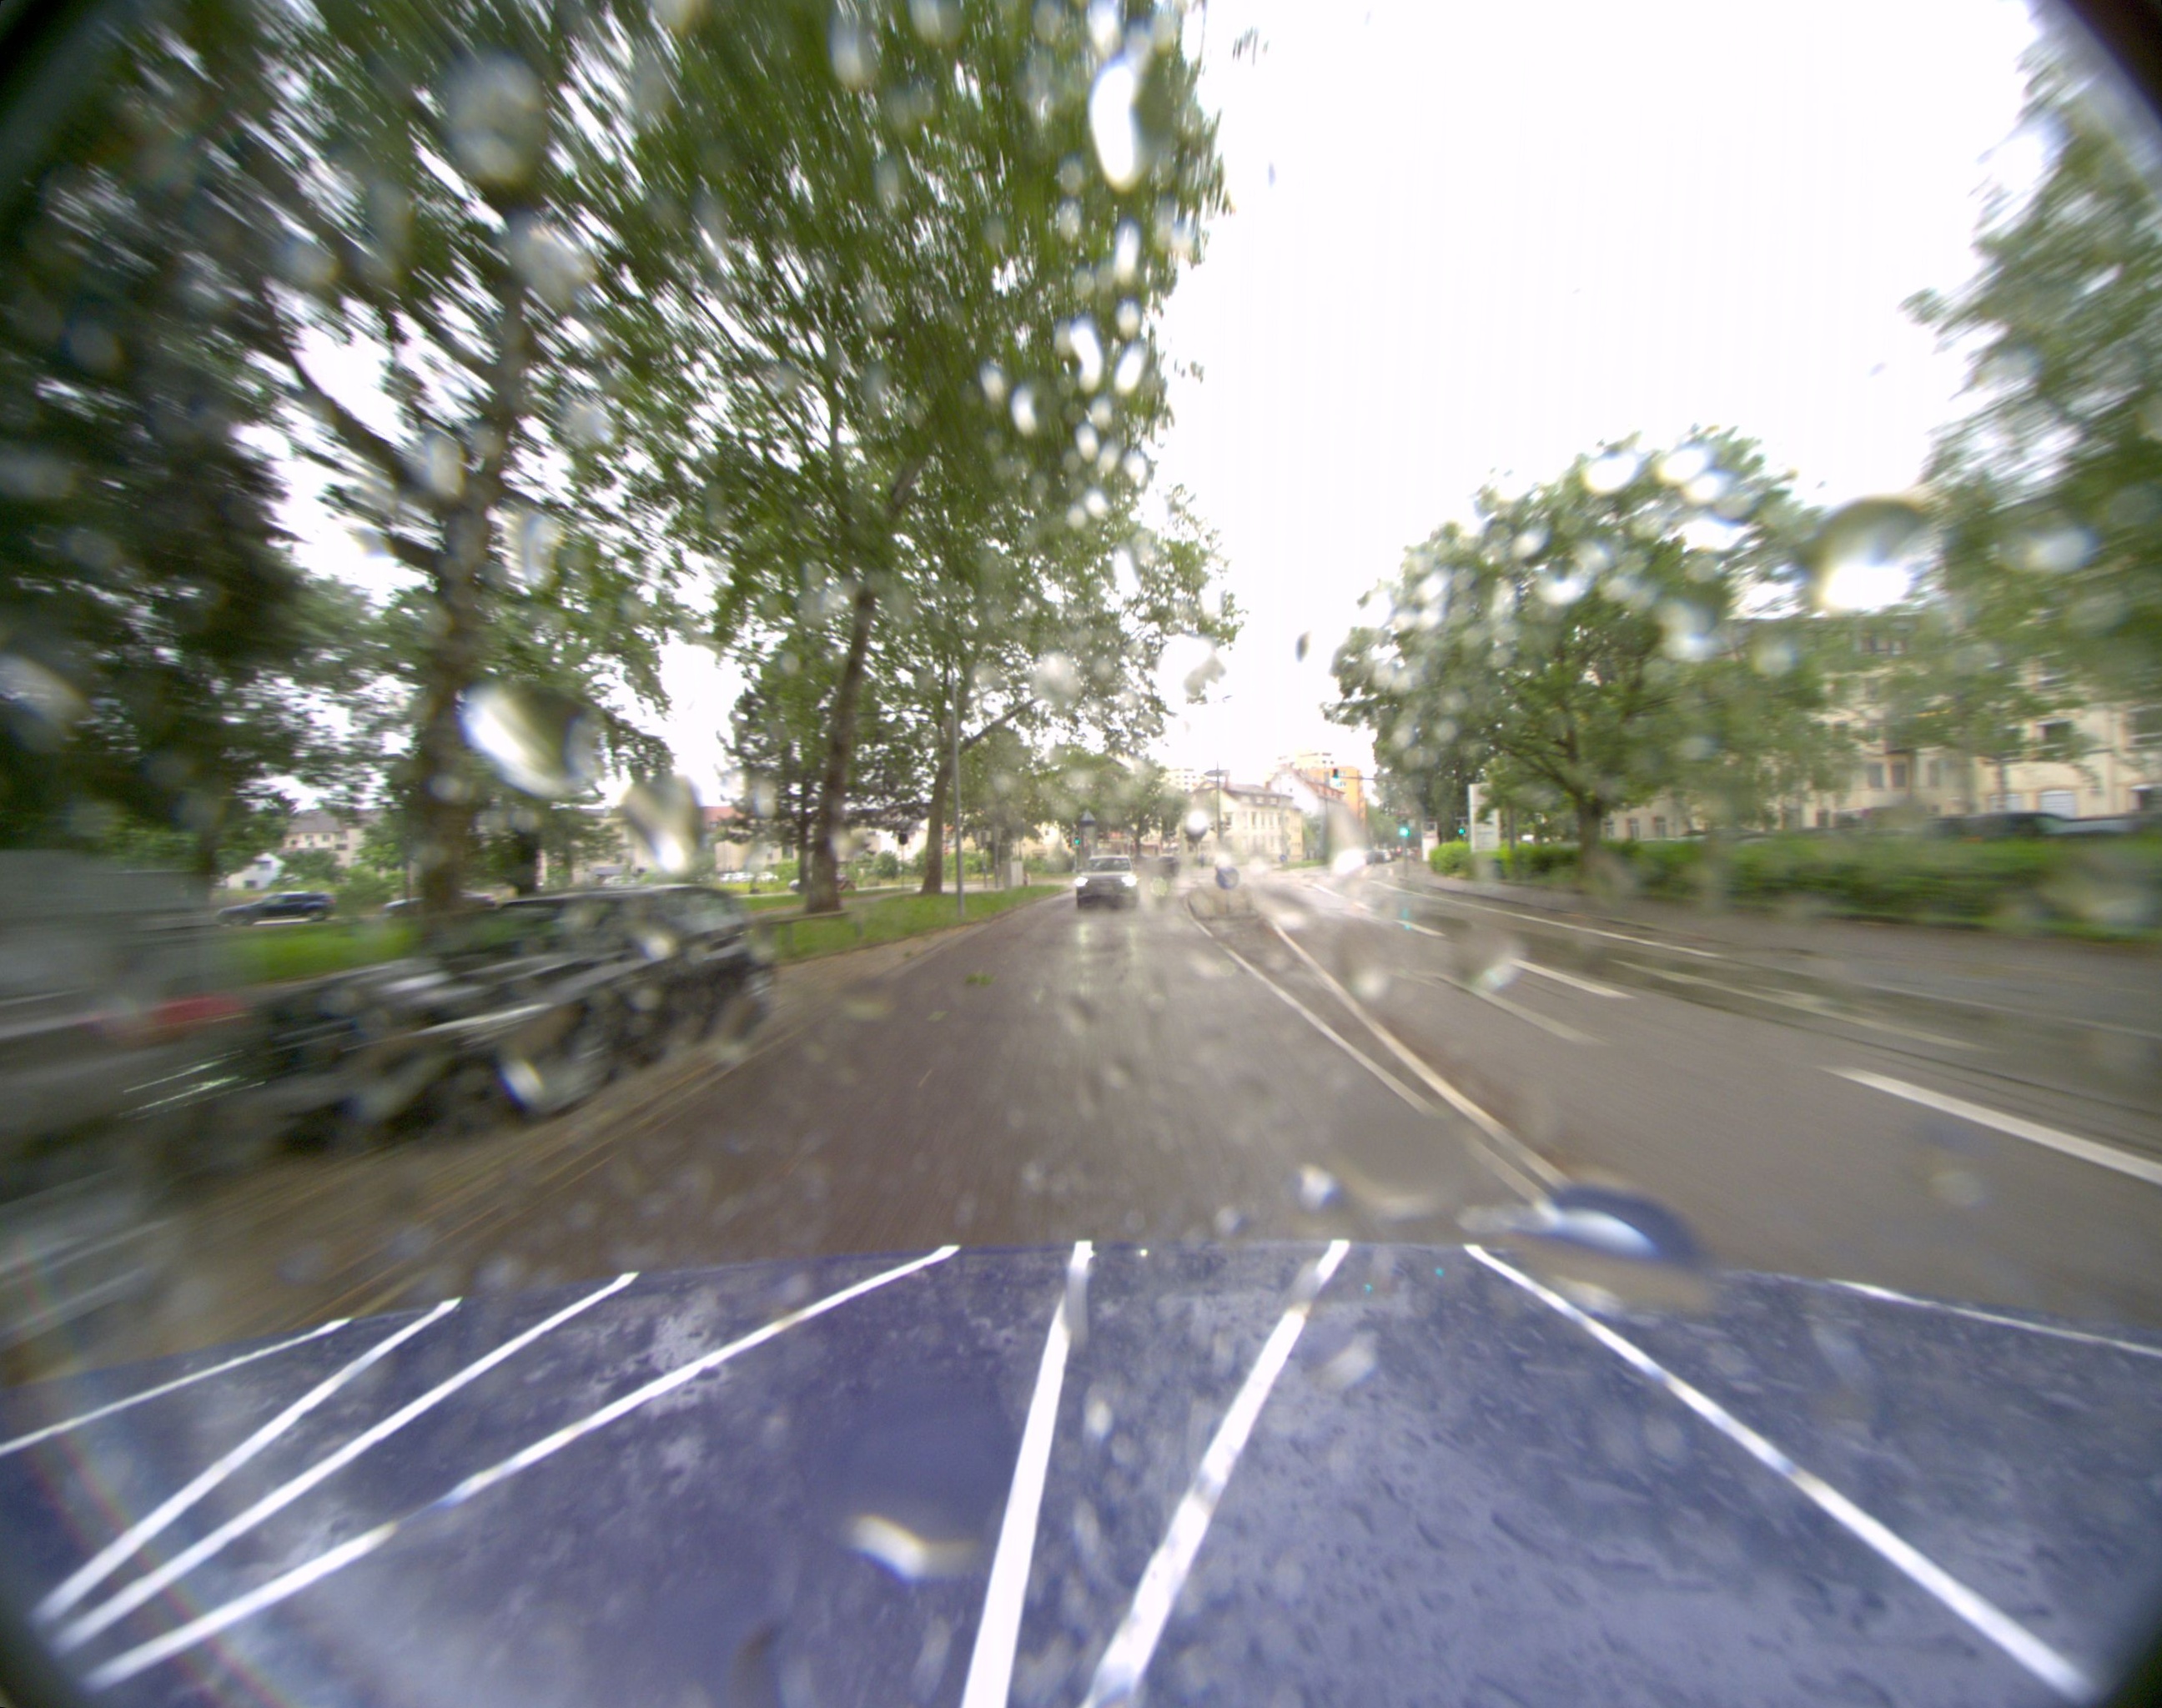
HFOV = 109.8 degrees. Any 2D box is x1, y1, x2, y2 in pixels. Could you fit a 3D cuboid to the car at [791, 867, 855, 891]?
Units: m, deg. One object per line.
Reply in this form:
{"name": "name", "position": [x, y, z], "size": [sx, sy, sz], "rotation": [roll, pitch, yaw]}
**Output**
{"name": "car", "position": [-20.211, 1.920, 59.604], "size": [4.312, 1.644, 1.855], "rotation": [-3, 0, -38]}

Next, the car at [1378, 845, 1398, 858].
{"name": "car", "position": [38.989, -0.303, 96.525], "size": [1.995, 1.558, 4.007], "rotation": [-3, 0, 26]}

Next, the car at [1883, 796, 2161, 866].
{"name": "car", "position": [21.830, -0.495, 17.747], "size": [3.994, 1.331, 1.717], "rotation": [-3, 0, 10]}

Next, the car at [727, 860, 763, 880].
{"name": "car", "position": [-35.880, 1.732, 81.115], "size": [3.989, 2.002, 2.004], "rotation": [-3, 0, 42]}

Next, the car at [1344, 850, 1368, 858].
{"name": "car", "position": [53.229, 0.011, 147.225], "size": [4.164, 1.467, 1.653], "rotation": [-3, 0, 29]}

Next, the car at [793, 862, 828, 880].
{"name": "car", "position": [-30.410, 1.941, 85.391], "size": [3.989, 1.849, 2.004], "rotation": [-3, 0, 42]}

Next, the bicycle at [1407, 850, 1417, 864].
{"name": "bicycle", "position": [30.250, 0.250, 69.424], "size": [0.698, 1.179, 1.626], "rotation": [-3, 0, 22]}

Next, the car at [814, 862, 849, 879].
{"name": "car", "position": [-28.687, 1.910, 87.302], "size": [3.989, 1.849, 2.004], "rotation": [-3, 0, 42]}

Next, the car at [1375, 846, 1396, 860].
{"name": "car", "position": [36.632, -0.113, 91.445], "size": [1.995, 1.558, 4.007], "rotation": [-3, 0, 26]}

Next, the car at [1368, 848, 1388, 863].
{"name": "car", "position": [31.794, 0.128, 81.234], "size": [1.546, 1.389, 4.201], "rotation": [-4, -1, 26]}

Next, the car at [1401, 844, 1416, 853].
{"name": "car", "position": [54.935, -0.917, 127.514], "size": [1.995, 1.412, 4.007], "rotation": [-3, 0, 26]}

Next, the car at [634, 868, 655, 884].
{"name": "car", "position": [-55.521, 2.794, 96.596], "size": [1.675, 1.902, 3.990], "rotation": [-3, 0, -39]}

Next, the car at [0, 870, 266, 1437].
{"name": "car", "position": [-4.037, 0.953, 0.646], "size": [1.921, 1.611, 4.451], "rotation": [-3, 1, -3]}

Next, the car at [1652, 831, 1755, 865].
{"name": "car", "position": [32.507, -0.285, 39.850], "size": [1.782, 1.676, 4.022], "rotation": [-1, 0, -8]}

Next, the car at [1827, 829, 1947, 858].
{"name": "car", "position": [46.514, -0.563, 44.002], "size": [1.999, 1.491, 4.531], "rotation": [-3, 0, -3]}

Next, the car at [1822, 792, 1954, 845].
{"name": "car", "position": [54.964, -2.364, 51.831], "size": [6.213, 3.175, 2.838], "rotation": [-3, 0, -4]}

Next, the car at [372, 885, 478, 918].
{"name": "car", "position": [-38.109, 2.737, 44.290], "size": [4.538, 1.539, 1.975], "rotation": [-3, 0, -38]}

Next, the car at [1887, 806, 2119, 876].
{"name": "car", "position": [24.362, -0.320, 20.192], "size": [3.996, 1.602, 1.651], "rotation": [-3, 0, 2]}

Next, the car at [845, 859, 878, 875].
{"name": "car", "position": [-26.247, 1.553, 90.852], "size": [3.989, 1.674, 1.913], "rotation": [-3, 0, 42]}

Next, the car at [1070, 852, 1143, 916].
{"name": "car", "position": [0.738, 0.850, 23.303], "size": [1.961, 1.701, 4.175], "rotation": [-3, 0, 0]}

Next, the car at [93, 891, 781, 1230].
{"name": "car", "position": [-3.904, 1.091, 5.713], "size": [1.552, 1.382, 4.150], "rotation": [-3, 0, 0]}

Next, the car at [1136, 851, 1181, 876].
{"name": "car", "position": [5.702, 0.694, 55.753], "size": [1.829, 1.619, 4.007], "rotation": [-3, 0, 28]}

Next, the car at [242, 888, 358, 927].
{"name": "car", "position": [-42.196, 2.847, 41.199], "size": [4.096, 1.799, 1.877], "rotation": [-3, 0, -38]}

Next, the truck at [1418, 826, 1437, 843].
{"name": "truck", "position": [95.200, -5.236, 208.737], "size": [3.826, 4.359, 10.804], "rotation": [-3, 0, 28]}

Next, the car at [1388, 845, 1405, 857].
{"name": "car", "position": [45.596, -0.412, 109.785], "size": [1.995, 1.558, 4.007], "rotation": [-3, 0, 26]}

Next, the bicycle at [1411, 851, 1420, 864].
{"name": "bicycle", "position": [29.123, 0.316, 66.127], "size": [0.556, 1.070, 1.798], "rotation": [-3, 0, 22]}

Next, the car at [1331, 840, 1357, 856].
{"name": "car", "position": [39.928, -0.951, 115.210], "size": [2.190, 2.242, 4.894], "rotation": [-3, 0, 39]}
